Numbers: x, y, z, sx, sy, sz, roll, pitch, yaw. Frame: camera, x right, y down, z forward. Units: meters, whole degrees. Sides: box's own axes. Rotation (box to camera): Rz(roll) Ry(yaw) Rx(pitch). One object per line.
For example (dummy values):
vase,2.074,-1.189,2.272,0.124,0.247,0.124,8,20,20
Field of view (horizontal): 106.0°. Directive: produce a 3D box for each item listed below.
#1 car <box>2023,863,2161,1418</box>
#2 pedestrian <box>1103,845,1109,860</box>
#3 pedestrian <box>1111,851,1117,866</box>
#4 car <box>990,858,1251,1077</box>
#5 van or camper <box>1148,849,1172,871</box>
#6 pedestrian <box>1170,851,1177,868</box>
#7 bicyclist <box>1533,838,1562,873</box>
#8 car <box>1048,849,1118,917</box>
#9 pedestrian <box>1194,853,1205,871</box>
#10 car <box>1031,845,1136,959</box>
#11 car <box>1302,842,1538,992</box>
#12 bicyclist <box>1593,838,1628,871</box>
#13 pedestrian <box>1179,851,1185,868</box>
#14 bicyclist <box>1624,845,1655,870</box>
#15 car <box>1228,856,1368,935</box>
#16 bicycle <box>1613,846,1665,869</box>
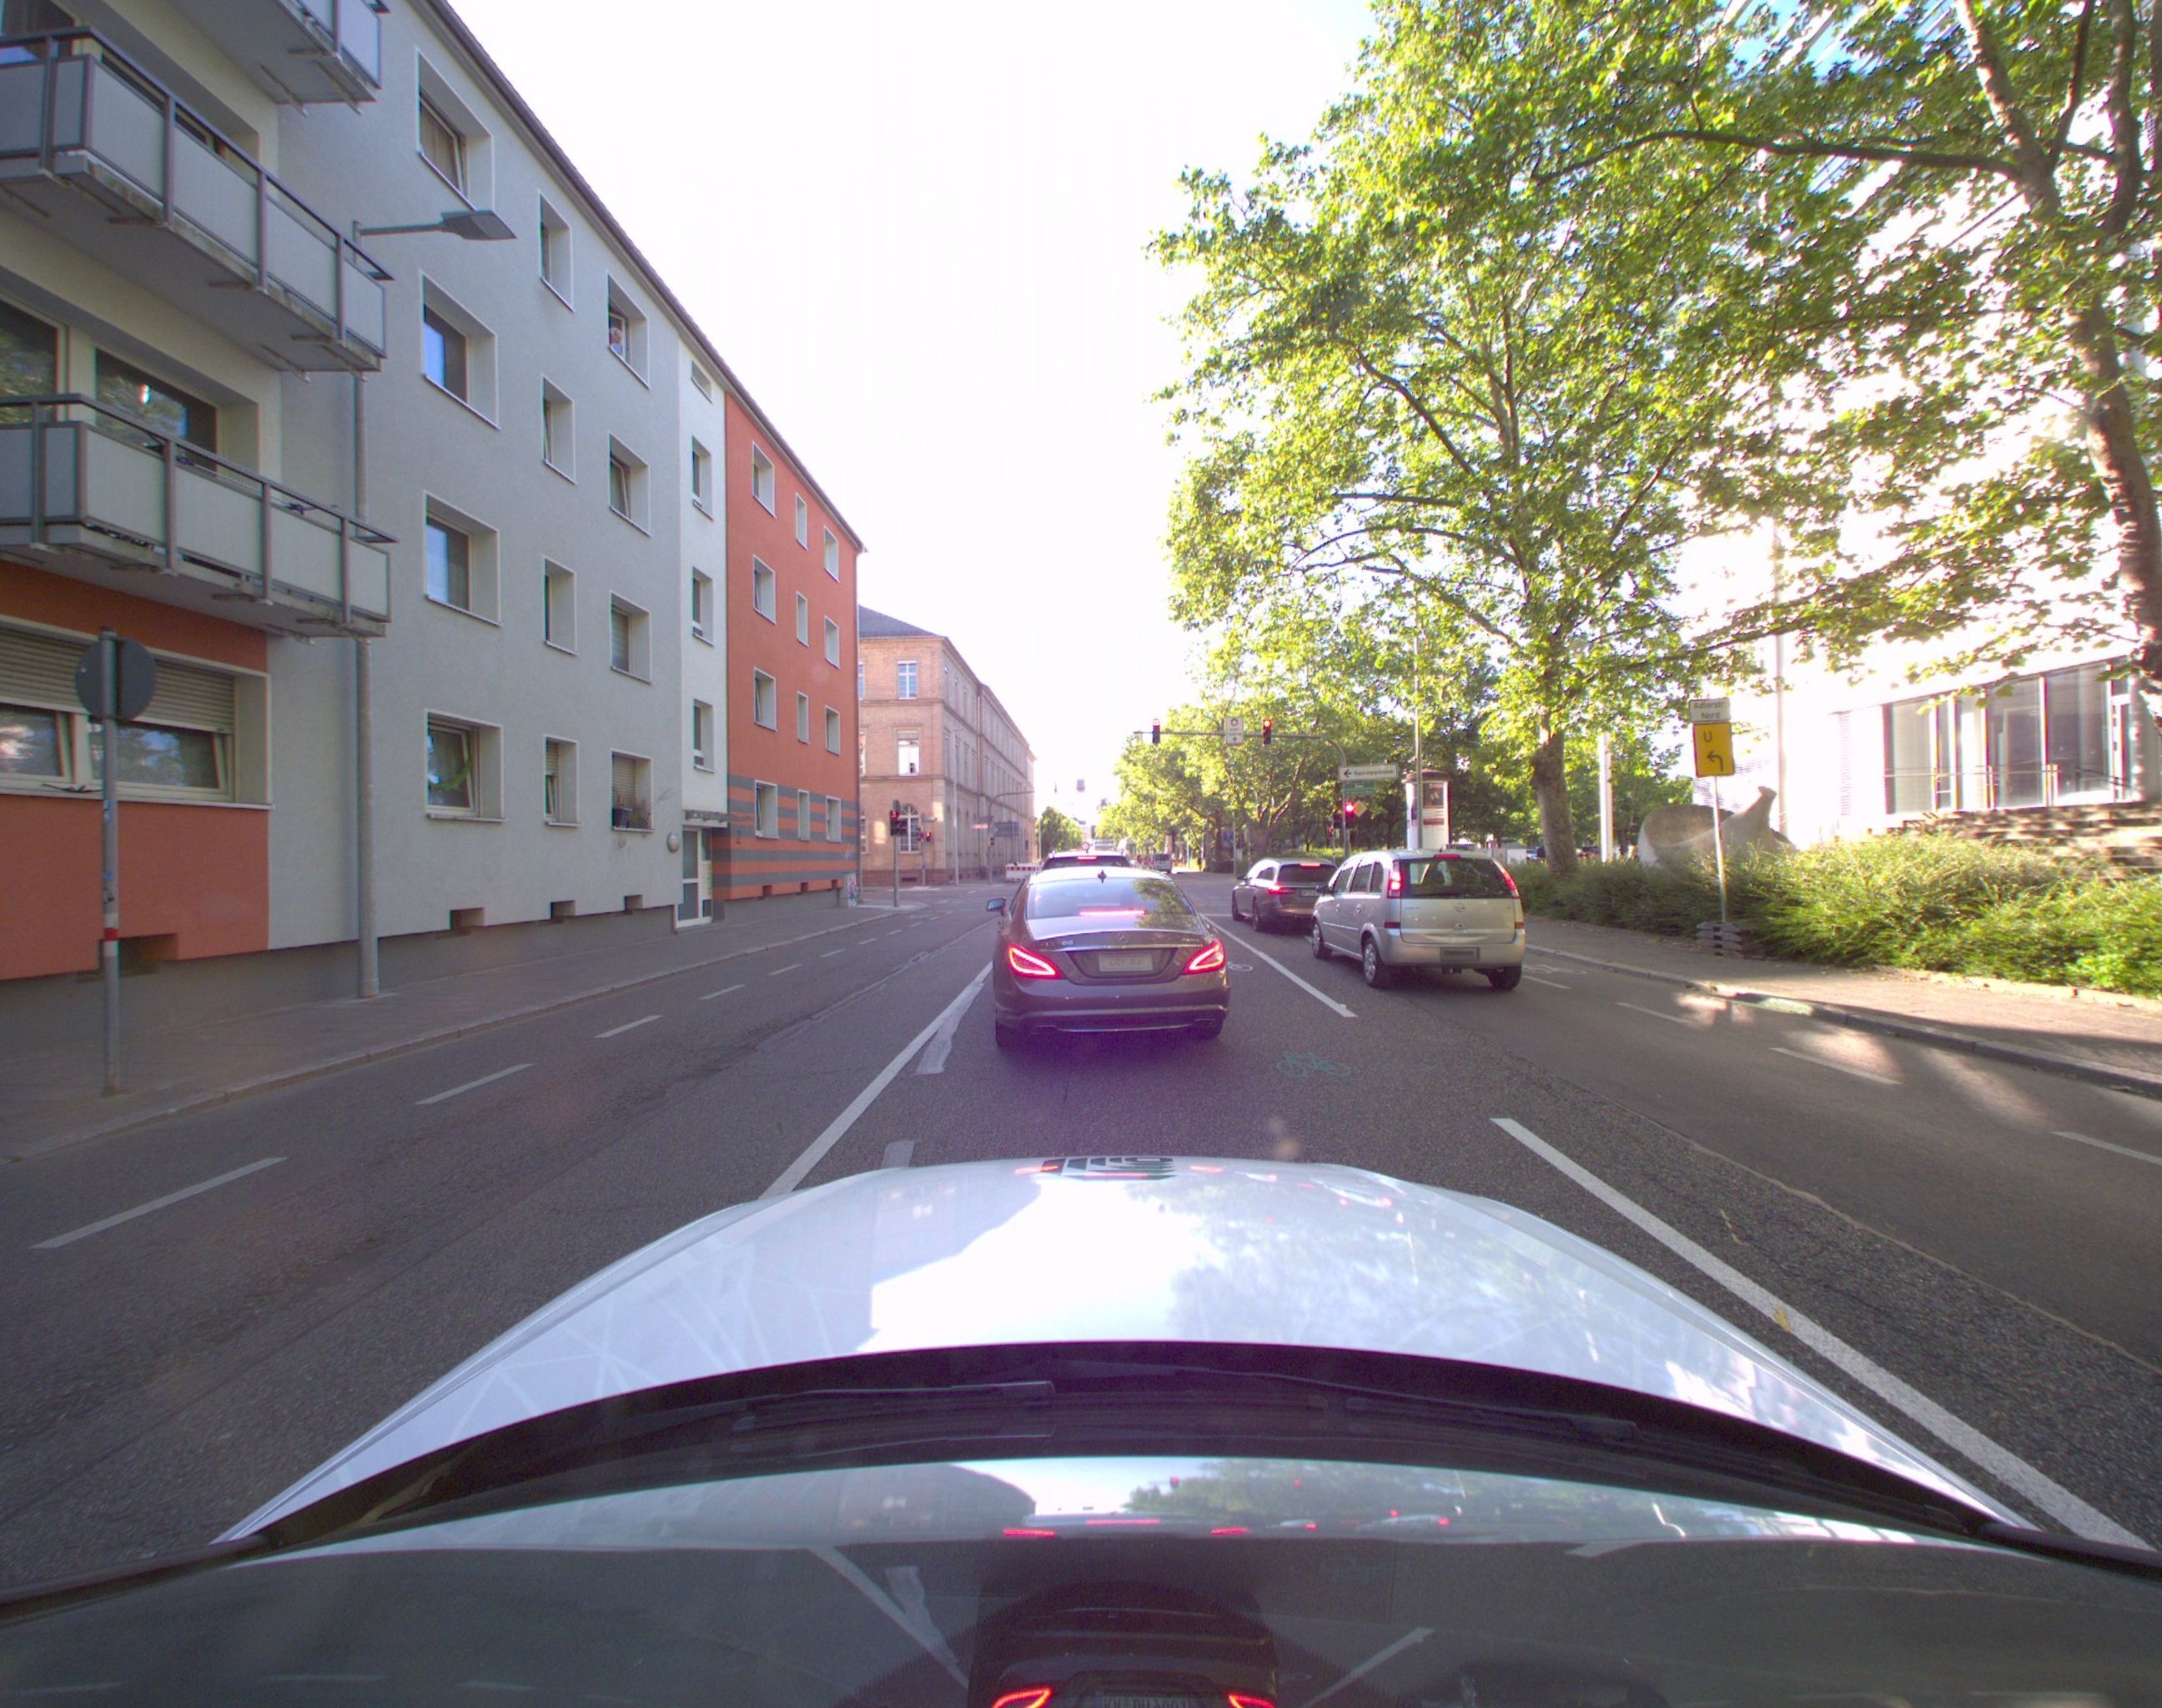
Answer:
car,3.658,0.760,0.497,1.638,1.482,3.978,-1,0,2
pedestrian,3.328,-0.253,110.082,0.722,2.013,0.748,-1,0,-2
pedestrian,4.390,0.602,109.854,0.722,2.013,0.748,-1,0,-2
car,0.095,0.781,7.799,1.801,1.456,4.342,-1,0,-5
van or camper,7.479,0.540,77.133,1.985,1.941,4.597,-1,0,3
pedestrian,10.217,0.579,90.023,0.601,1.821,0.652,-1,0,1
bicyclist,22.118,0.082,38.641,1.013,1.642,0.607,-1,0,-4
car,0.126,0.766,23.381,1.813,1.762,4.002,-1,0,2
pedestrian,10.441,0.694,71.832,0.827,1.606,0.652,-1,0,1
car,0.030,0.709,13.824,1.513,1.647,3.879,-1,0,0
car,4.177,0.682,10.708,1.694,1.603,3.863,-1,0,4
bicyclist,24.177,0.012,37.183,1.113,1.490,0.712,-1,0,1
pedestrian,11.132,0.607,89.777,0.601,1.821,0.652,-1,0,1
bicyclist,26.070,0.175,38.003,0.987,1.154,0.621,-1,0,3
car,4.466,0.774,17.499,1.905,1.464,4.671,0,0,2
bicycle,26.046,0.178,38.014,1.972,1.027,0.652,-1,0,2
